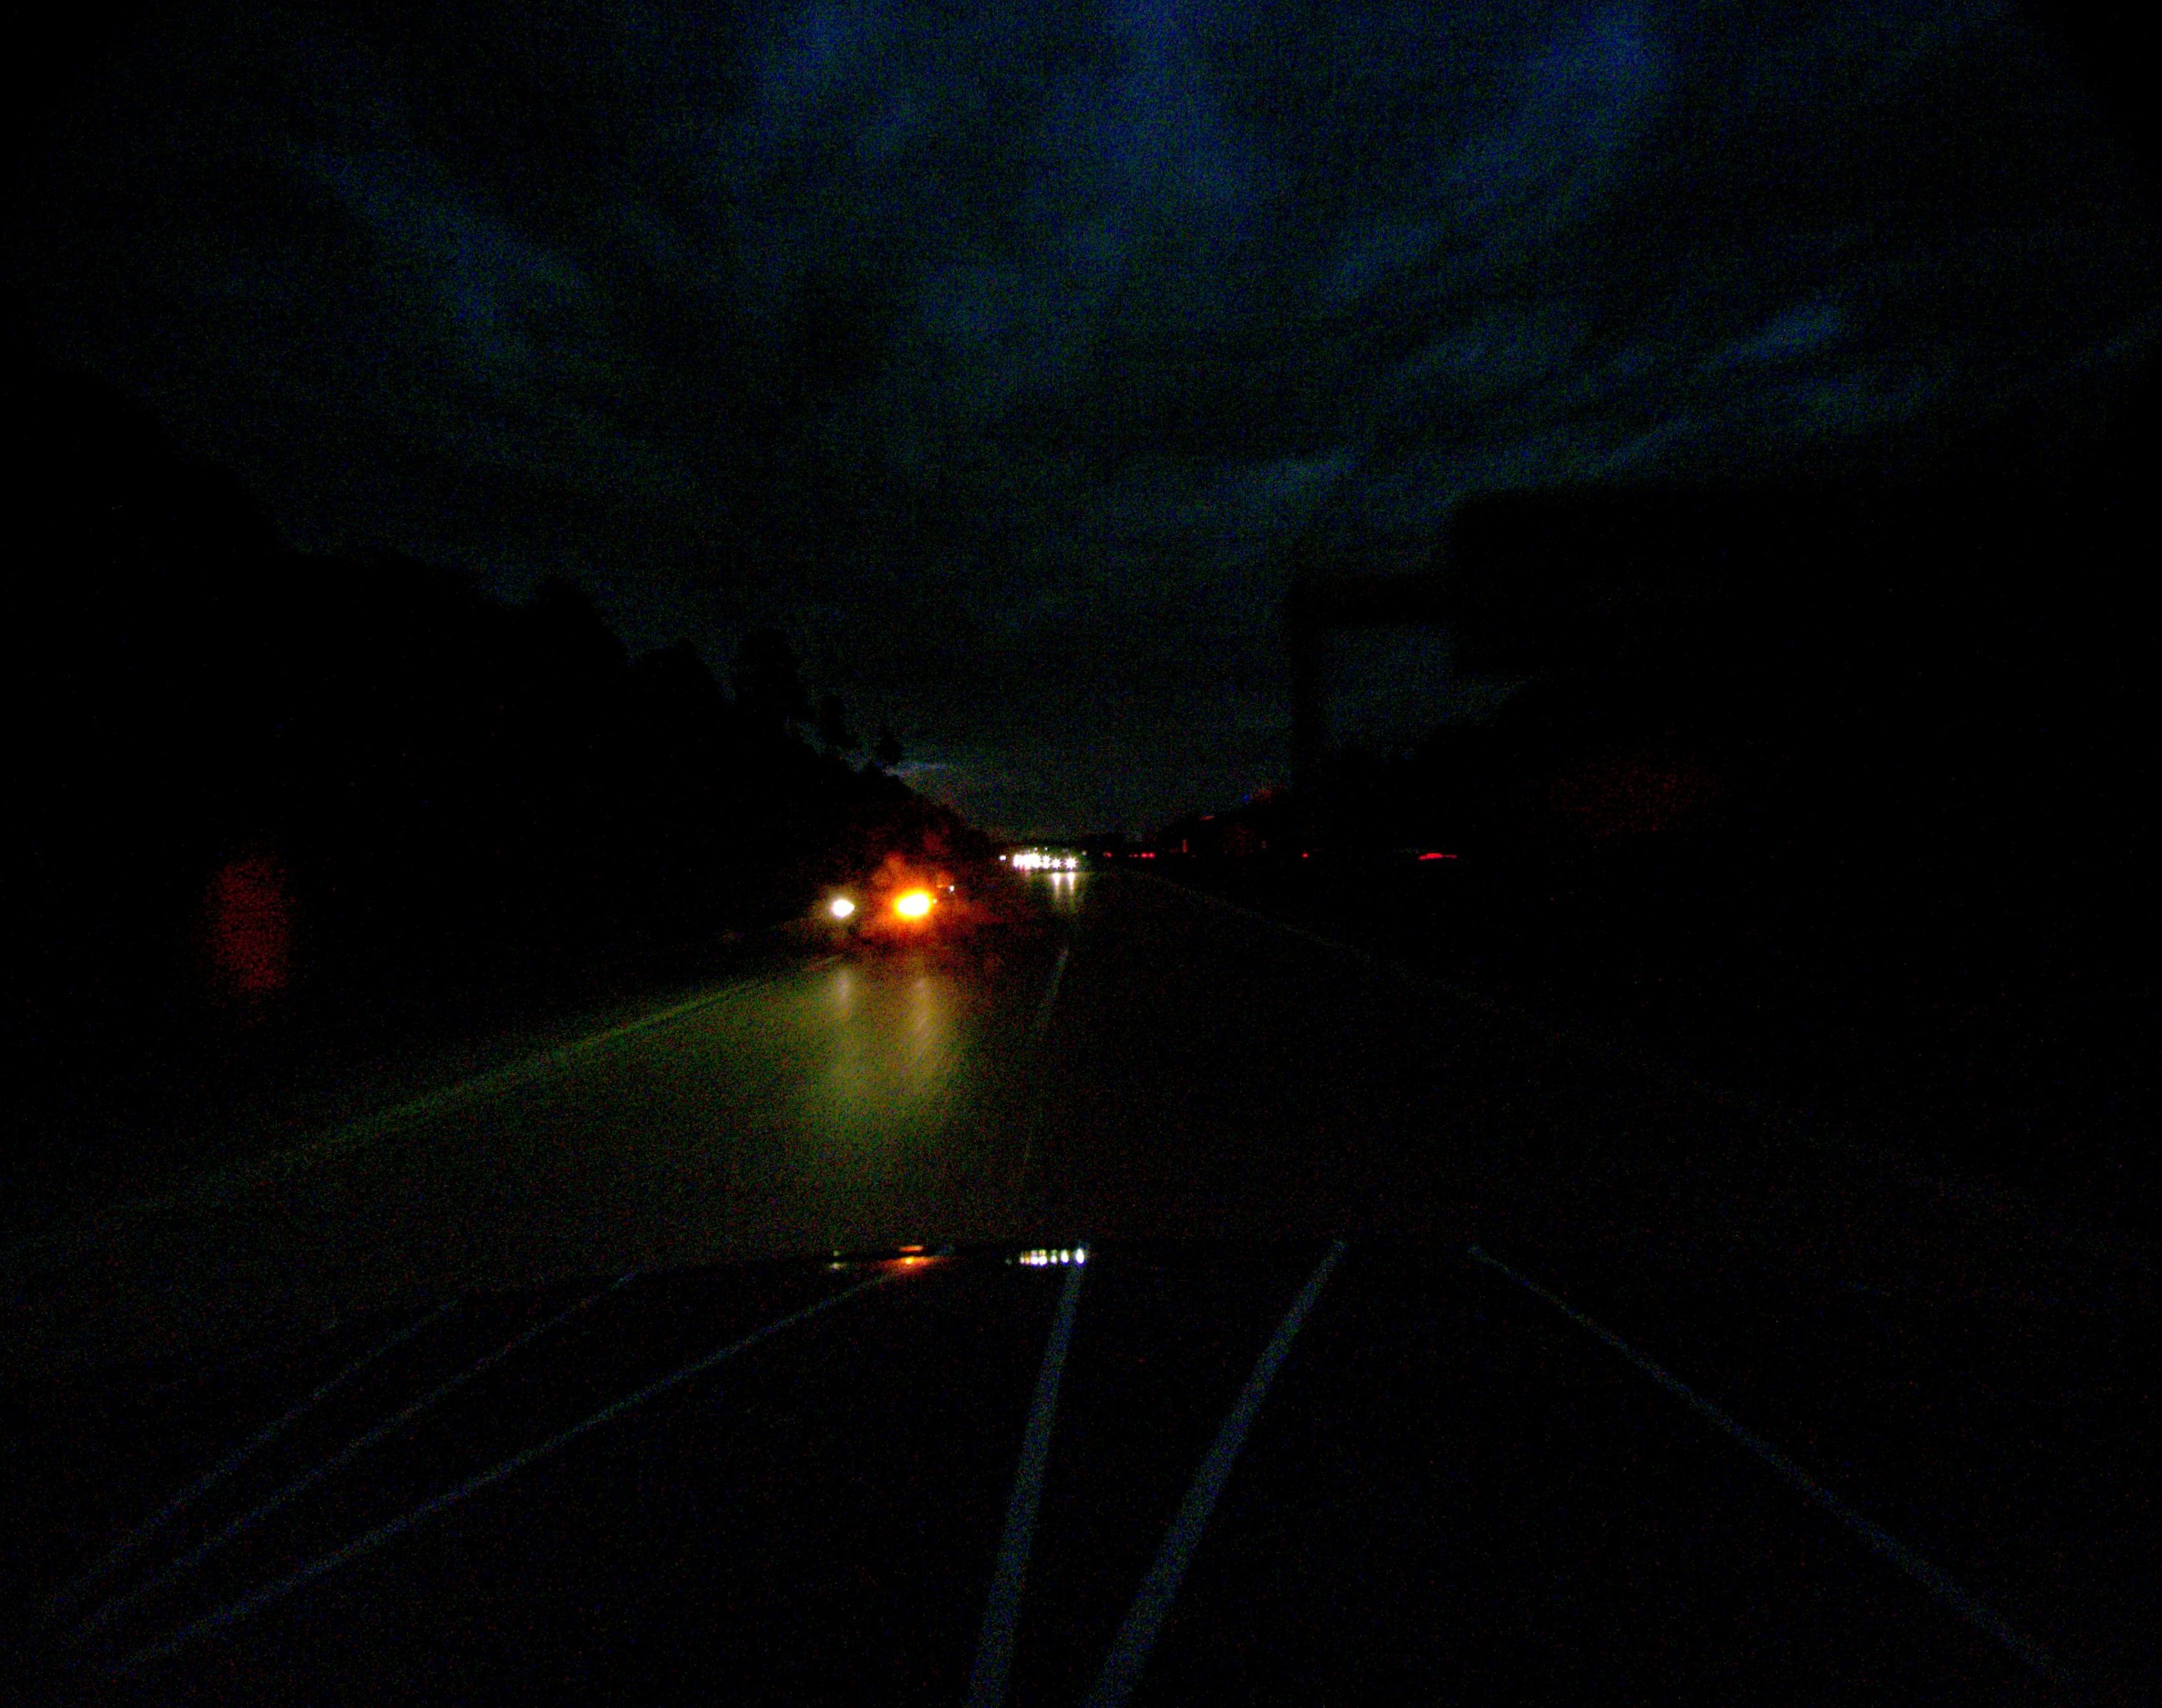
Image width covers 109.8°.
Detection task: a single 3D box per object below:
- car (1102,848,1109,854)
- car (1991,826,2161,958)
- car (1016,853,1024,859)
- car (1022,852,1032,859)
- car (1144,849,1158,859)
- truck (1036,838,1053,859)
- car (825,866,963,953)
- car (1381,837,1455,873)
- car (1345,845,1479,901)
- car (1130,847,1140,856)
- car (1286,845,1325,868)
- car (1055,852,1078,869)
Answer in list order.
[{"bbox_3d":[8.638,-1.074,265.733,1.999,2.213,4.371,-2,0,-3],"label":"car"},{"bbox_3d":[12.423,0.388,7.230,1.742,1.402,4.806,-2,0,-1],"label":"car"},{"bbox_3d":[-16.992,0.555,211.692,1.999,1.539,3.999,-2,0,-1],"label":"car"},{"bbox_3d":[-12.771,0.294,179.290,1.999,1.539,3.999,-2,0,-1],"label":"car"},{"bbox_3d":[13.080,-0.045,142.349,1.999,1.787,4.206,-2,0,-1],"label":"car"},{"bbox_3d":[-7.492,-1.132,158.764,3.145,3.987,10.542,-2,0,-1],"label":"truck"},{"bbox_3d":[-3.734,1.037,16.018,1.880,1.435,4.450,-2,0,-2],"label":"car"},{"bbox_3d":[18.083,0.041,41.035,1.999,1.787,4.372,-2,0,-1],"label":"car"},{"bbox_3d":[9.652,0.503,22.569,1.999,1.428,4.372,-2,0,-1],"label":"car"},{"bbox_3d":[14.162,-0.685,198.313,1.999,2.142,4.371,-2,0,-3],"label":"car"},{"bbox_3d":[18.694,0.195,63.373,1.998,1.787,4.206,-2,0,1],"label":"car"},{"bbox_3d":[-1.348,0.592,72.702,1.998,1.539,4.000,-2,0,2],"label":"car"}]
